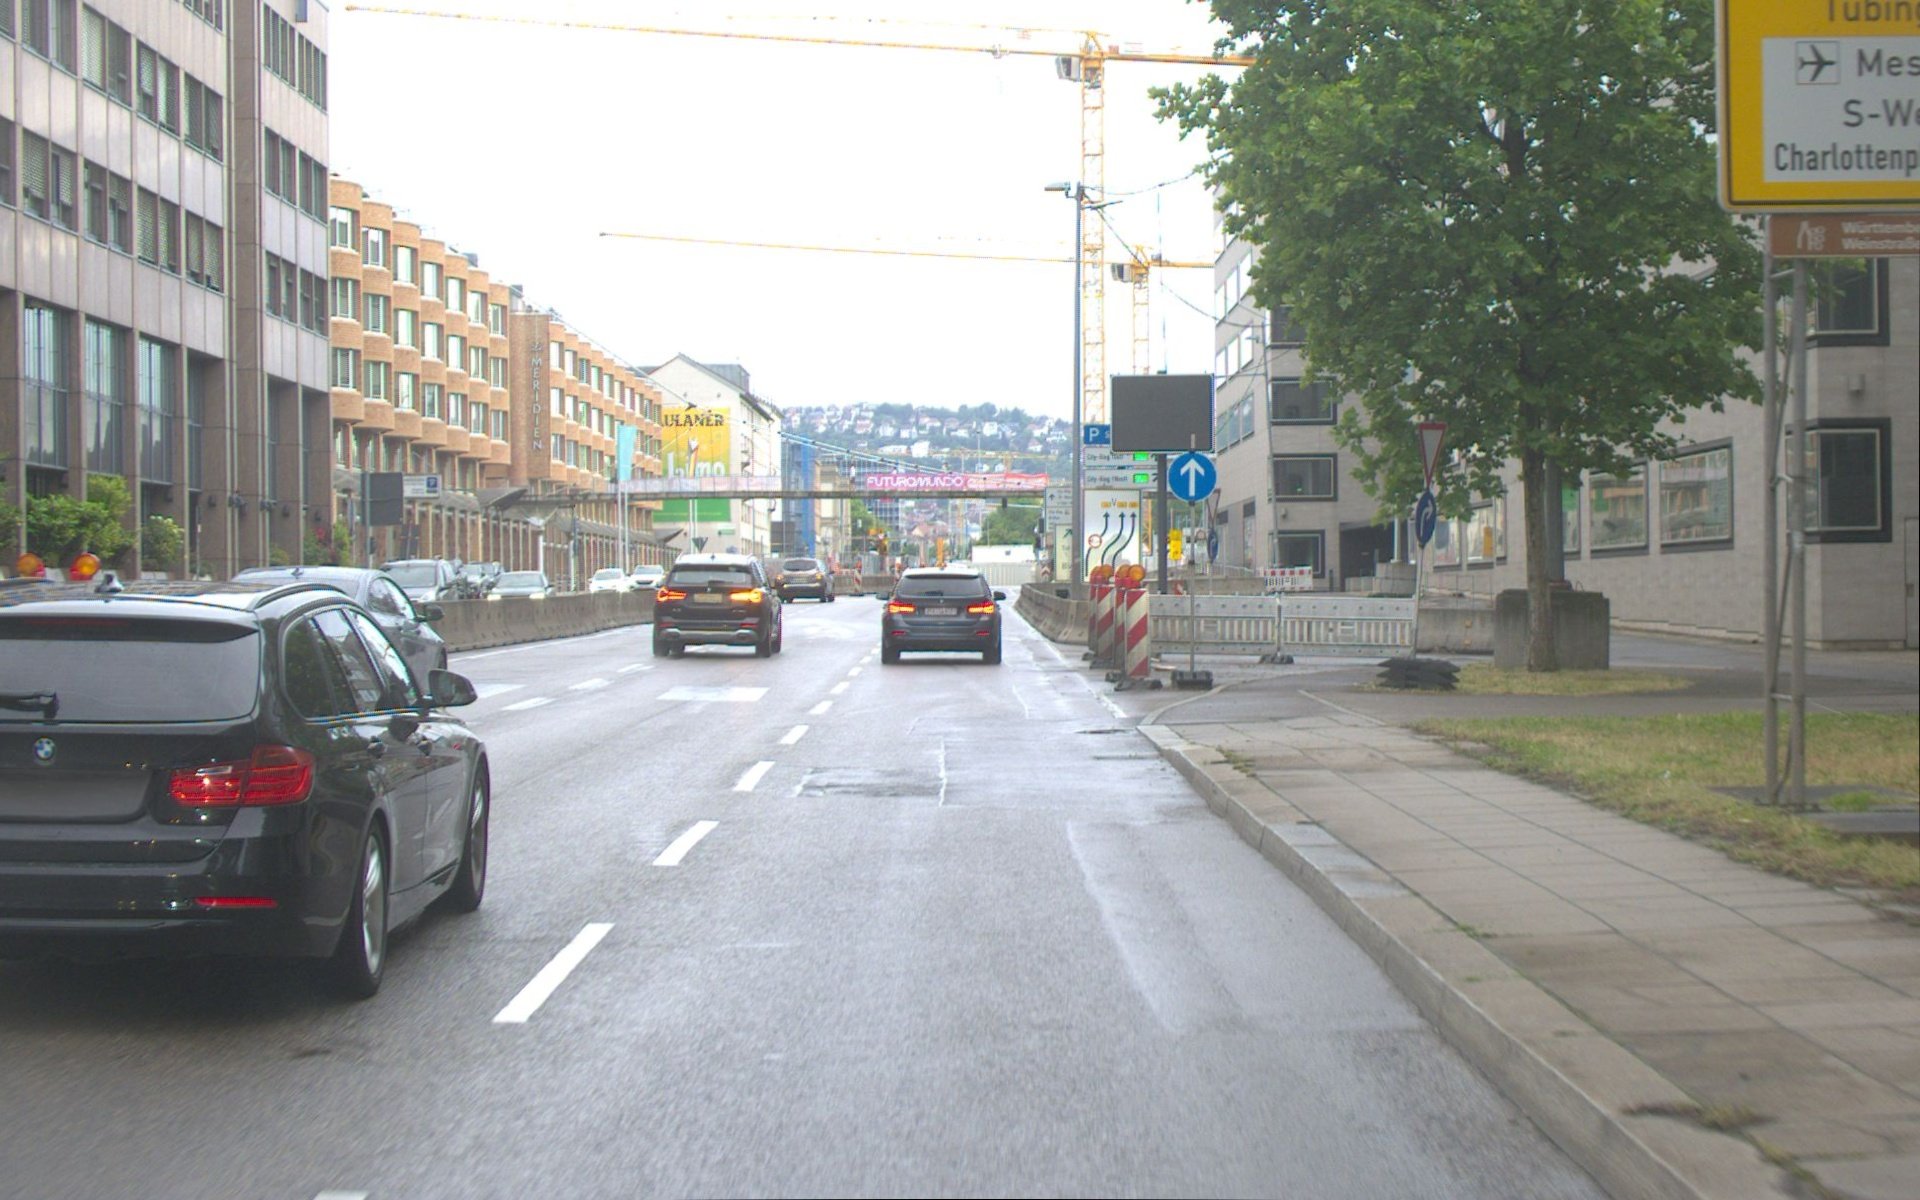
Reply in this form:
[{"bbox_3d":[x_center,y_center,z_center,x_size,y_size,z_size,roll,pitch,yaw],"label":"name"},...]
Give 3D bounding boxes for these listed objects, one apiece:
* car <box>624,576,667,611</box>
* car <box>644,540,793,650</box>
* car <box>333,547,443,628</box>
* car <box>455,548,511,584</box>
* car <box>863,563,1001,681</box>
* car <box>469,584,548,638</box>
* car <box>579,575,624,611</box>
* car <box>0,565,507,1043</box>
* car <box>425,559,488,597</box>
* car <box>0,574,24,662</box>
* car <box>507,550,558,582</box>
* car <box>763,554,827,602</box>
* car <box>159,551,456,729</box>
[{"bbox_3d":[-15.917,-0.342,174.200,1.820,1.613,4.192,-1,2,-1],"label":"car"},{"bbox_3d":[-3.882,-0.104,55.845,1.900,1.687,4.000,-1,1,3],"label":"car"},{"bbox_3d":[-13.056,-0.304,78.660,1.721,1.764,4.425,-1,1,0],"label":"car"},{"bbox_3d":[-22.580,-1.605,162.819,1.993,1.614,4.318,-1,1,1],"label":"car"},{"bbox_3d":[-0.388,0.296,52.443,1.900,1.687,4.000,-1,1,2],"label":"car"},{"bbox_3d":[-13.499,0.311,103.014,1.860,1.528,4.231,-1,1,-1],"label":"car"},{"bbox_3d":[-16.071,-0.318,154.238,1.602,1.437,3.658,-1,2,0],"label":"car"},{"bbox_3d":[-2.840,0.606,12.878,1.791,1.421,4.614,1,1,-2],"label":"car"},{"bbox_3d":[-22.087,-0.970,150.868,1.993,1.614,4.763,-1,1,1],"label":"car"},{"bbox_3d":[-16.155,0.311,53.972,1.699,1.394,4.020,-1,1,2],"label":"car"},{"bbox_3d":[-22.386,-1.795,180.045,1.993,1.614,4.690,-1,1,1],"label":"car"},{"bbox_3d":[-6.007,-0.807,125.586,1.900,1.687,4.000,-1,1,3],"label":"car"},{"bbox_3d":[-5.671,0.308,30.385,1.790,1.421,4.385,-1,1,0],"label":"car"}]
